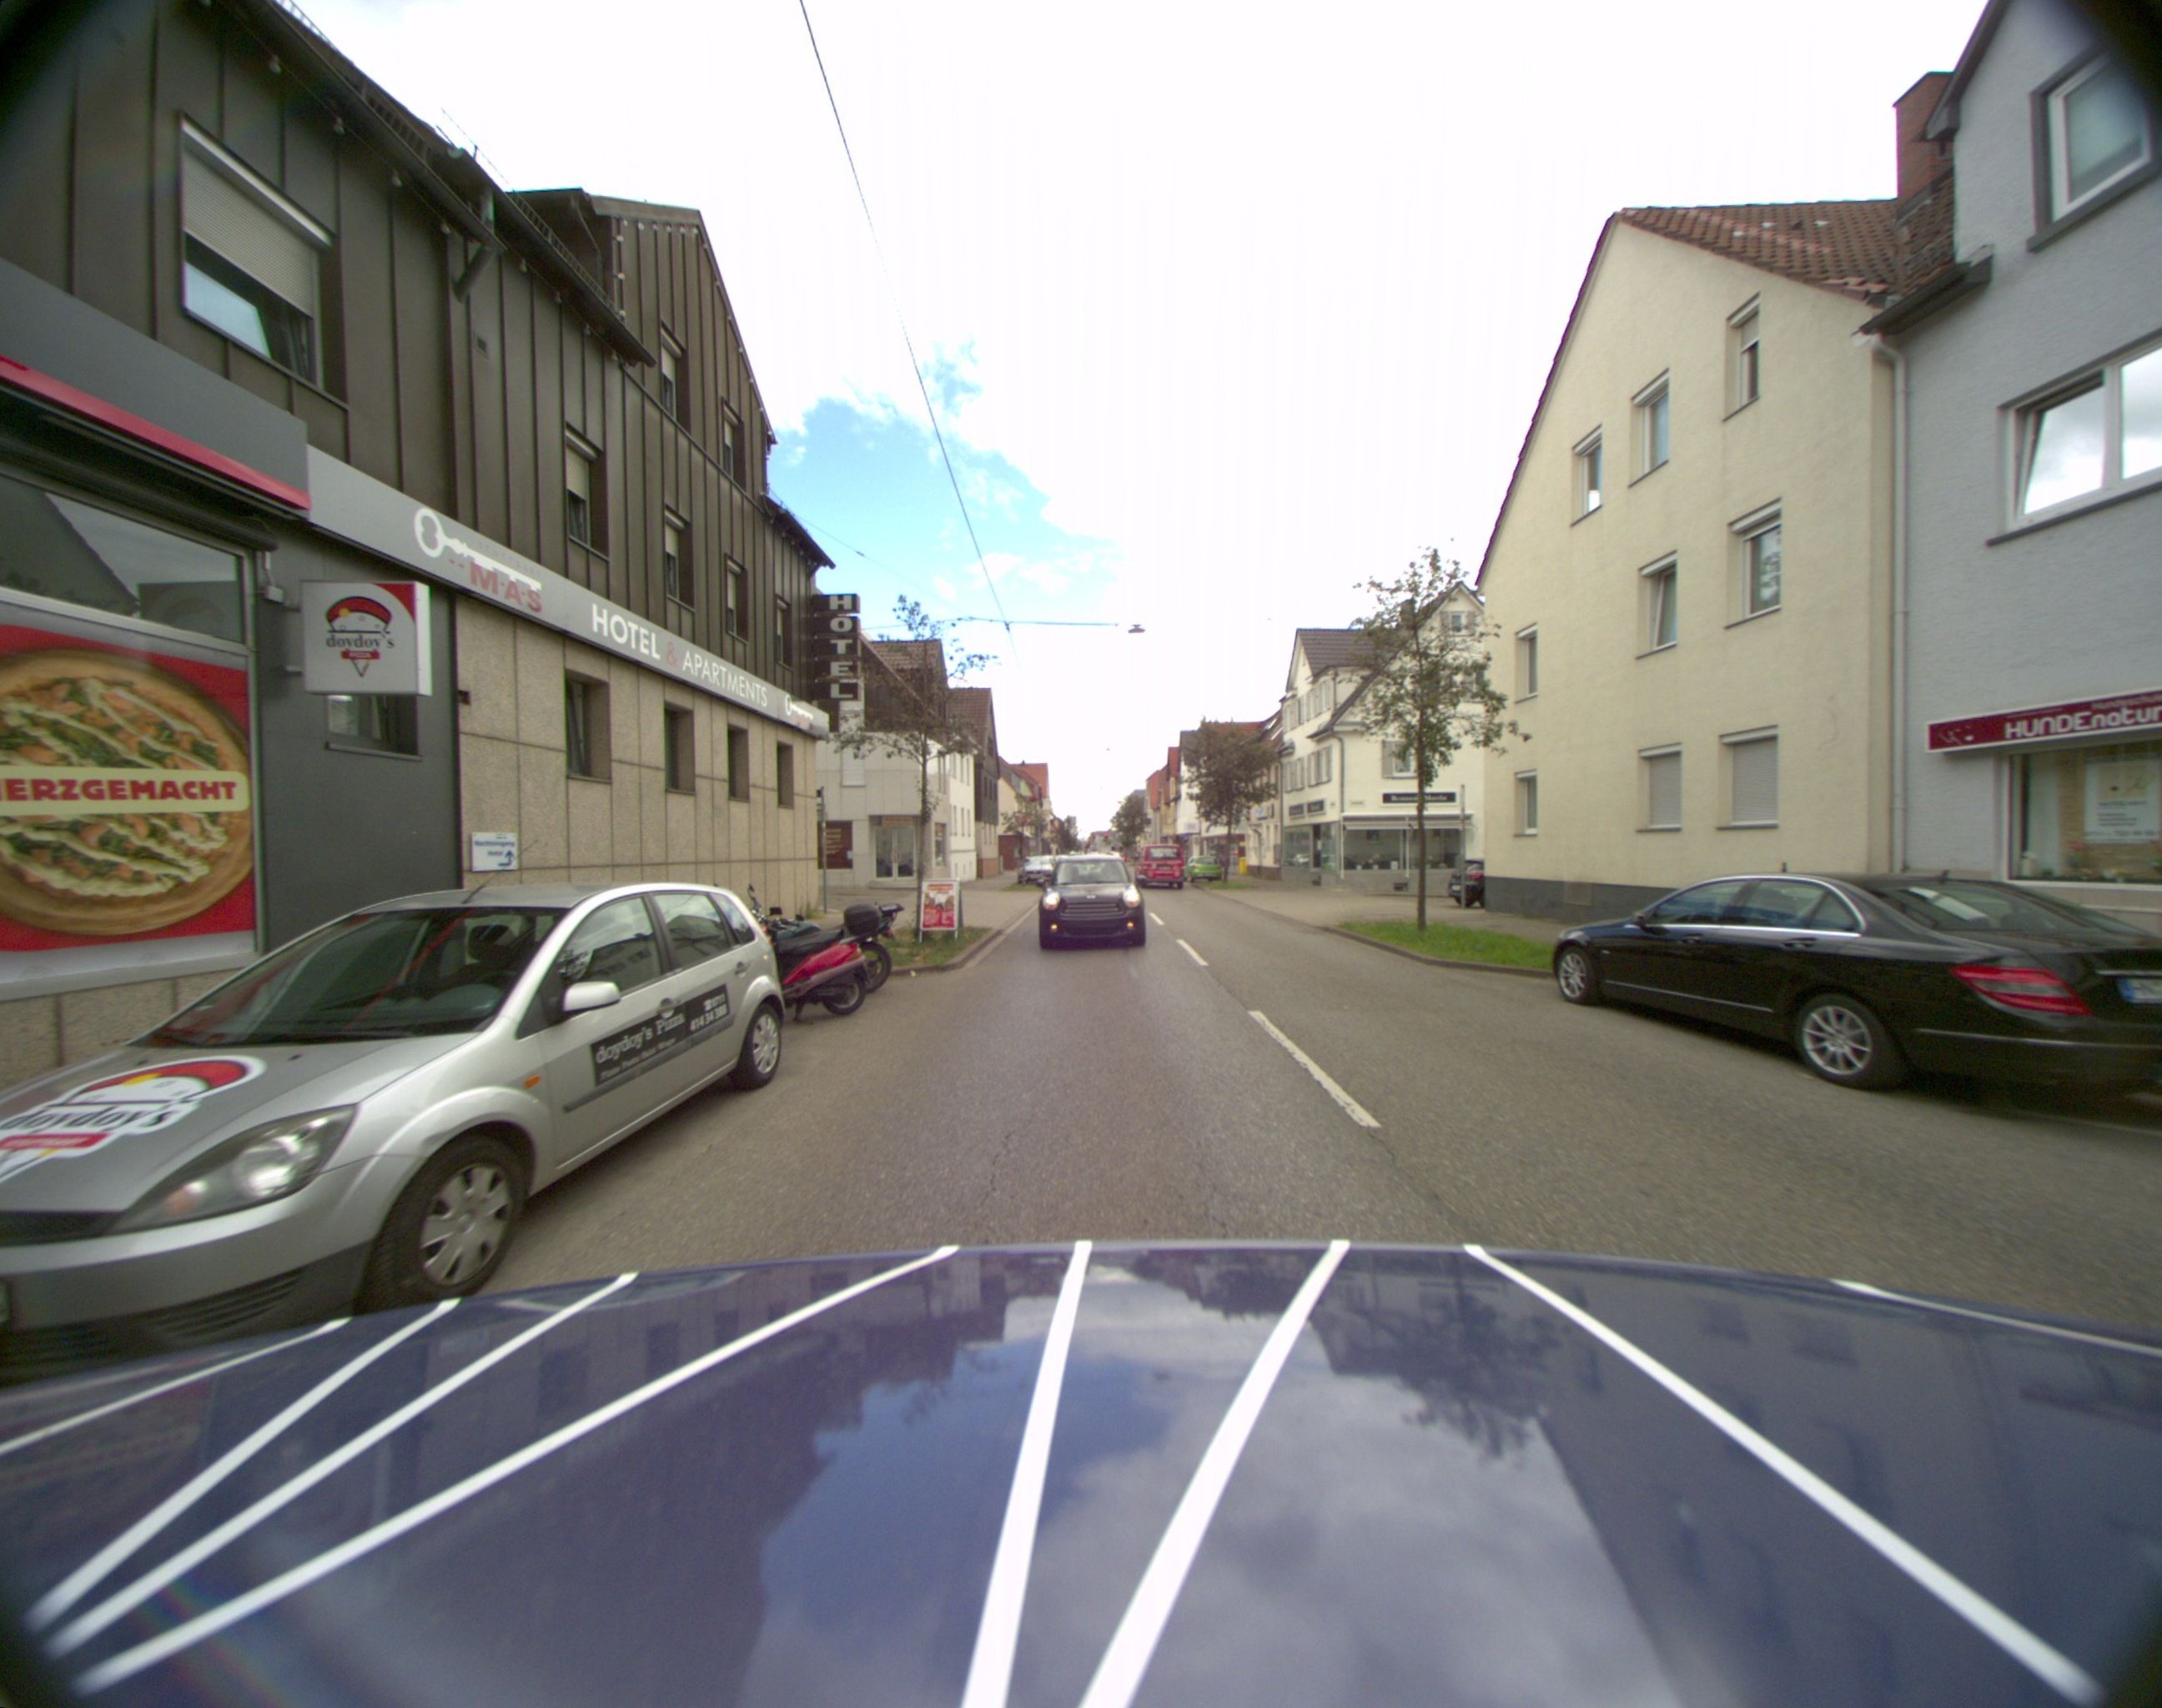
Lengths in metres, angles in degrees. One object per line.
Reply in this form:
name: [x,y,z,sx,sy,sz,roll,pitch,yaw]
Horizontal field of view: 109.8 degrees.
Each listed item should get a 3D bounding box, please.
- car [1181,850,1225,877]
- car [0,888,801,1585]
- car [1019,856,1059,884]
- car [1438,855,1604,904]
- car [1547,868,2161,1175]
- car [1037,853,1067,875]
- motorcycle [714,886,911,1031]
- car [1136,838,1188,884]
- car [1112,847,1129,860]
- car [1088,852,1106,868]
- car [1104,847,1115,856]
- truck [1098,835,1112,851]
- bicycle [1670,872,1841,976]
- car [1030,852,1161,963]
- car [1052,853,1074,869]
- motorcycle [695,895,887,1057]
car: [6.573,0.482,41.281,1.715,1.389,3.900,-1,1,0]
car: [-2.959,1.011,3.744,1.644,1.433,3.902,-1,1,1]
car: [-2.183,0.813,40.365,1.794,1.356,3.949,1,1,2]
car: [11.762,0.673,20.460,3.490,1.182,1.612,-1,-1,0]
car: [5.859,0.879,5.949,1.792,1.409,4.341,0,1,1]
car: [-2.022,0.684,53.372,1.794,1.397,3.949,1,1,2]
motorcycle: [-2.806,1.039,8.075,1.874,1.284,0.531,-2,1,-37]
car: [3.609,0.295,34.628,1.855,1.932,4.490,1,1,0]
car: [4.457,-0.089,86.000,1.779,1.446,4.000,-1,1,2]
car: [1.731,0.672,83.021,1.854,1.615,4.736,-1,1,2]
car: [4.632,-0.484,125.040,1.779,1.446,4.000,-1,1,2]
truck: [5.039,-2.275,157.353,2.799,3.020,8.251,-1,1,2]
bicycle: [8.935,0.871,10.195,0.515,1.189,2.023,-1,1,1]
car: [0.208,0.770,13.321,1.855,1.527,4.735,-1,1,0]
car: [-1.623,0.609,69.636,1.794,1.397,3.949,1,1,2]
motorcycle: [-2.677,1.073,7.067,1.588,1.284,0.500,-2,1,-28]
